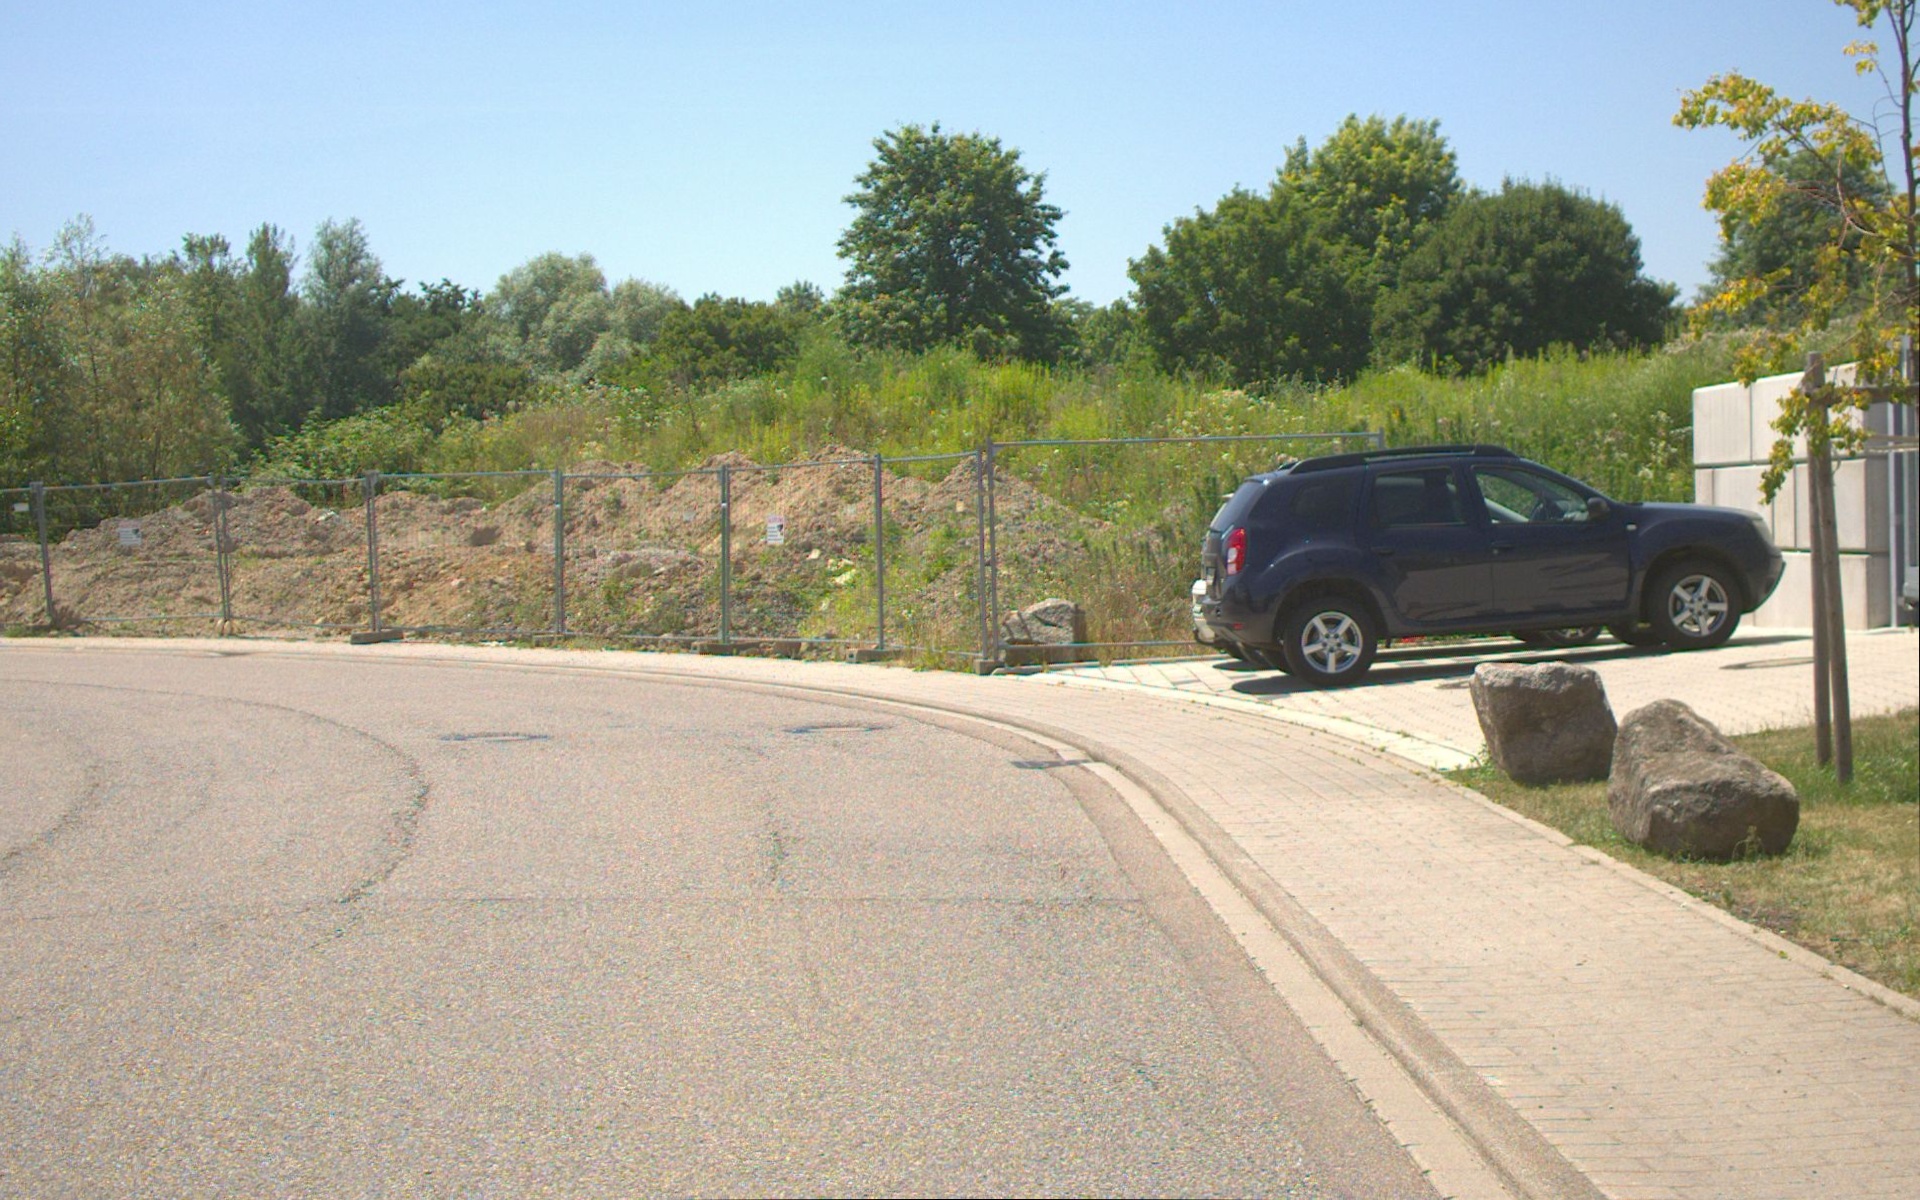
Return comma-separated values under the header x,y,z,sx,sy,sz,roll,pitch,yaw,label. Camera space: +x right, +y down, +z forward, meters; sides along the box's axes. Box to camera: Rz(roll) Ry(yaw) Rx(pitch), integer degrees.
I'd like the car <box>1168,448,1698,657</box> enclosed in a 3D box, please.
x,y,z,sx,sy,sz,roll,pitch,yaw,label
3.845,-0.403,28.436,4.009,1.457,1.893,-3,1,-2,car

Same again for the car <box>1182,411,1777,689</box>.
x,y,z,sx,sy,sz,roll,pitch,yaw,label
3.809,-0.384,25.707,4.009,1.649,1.858,-5,1,-1,car
